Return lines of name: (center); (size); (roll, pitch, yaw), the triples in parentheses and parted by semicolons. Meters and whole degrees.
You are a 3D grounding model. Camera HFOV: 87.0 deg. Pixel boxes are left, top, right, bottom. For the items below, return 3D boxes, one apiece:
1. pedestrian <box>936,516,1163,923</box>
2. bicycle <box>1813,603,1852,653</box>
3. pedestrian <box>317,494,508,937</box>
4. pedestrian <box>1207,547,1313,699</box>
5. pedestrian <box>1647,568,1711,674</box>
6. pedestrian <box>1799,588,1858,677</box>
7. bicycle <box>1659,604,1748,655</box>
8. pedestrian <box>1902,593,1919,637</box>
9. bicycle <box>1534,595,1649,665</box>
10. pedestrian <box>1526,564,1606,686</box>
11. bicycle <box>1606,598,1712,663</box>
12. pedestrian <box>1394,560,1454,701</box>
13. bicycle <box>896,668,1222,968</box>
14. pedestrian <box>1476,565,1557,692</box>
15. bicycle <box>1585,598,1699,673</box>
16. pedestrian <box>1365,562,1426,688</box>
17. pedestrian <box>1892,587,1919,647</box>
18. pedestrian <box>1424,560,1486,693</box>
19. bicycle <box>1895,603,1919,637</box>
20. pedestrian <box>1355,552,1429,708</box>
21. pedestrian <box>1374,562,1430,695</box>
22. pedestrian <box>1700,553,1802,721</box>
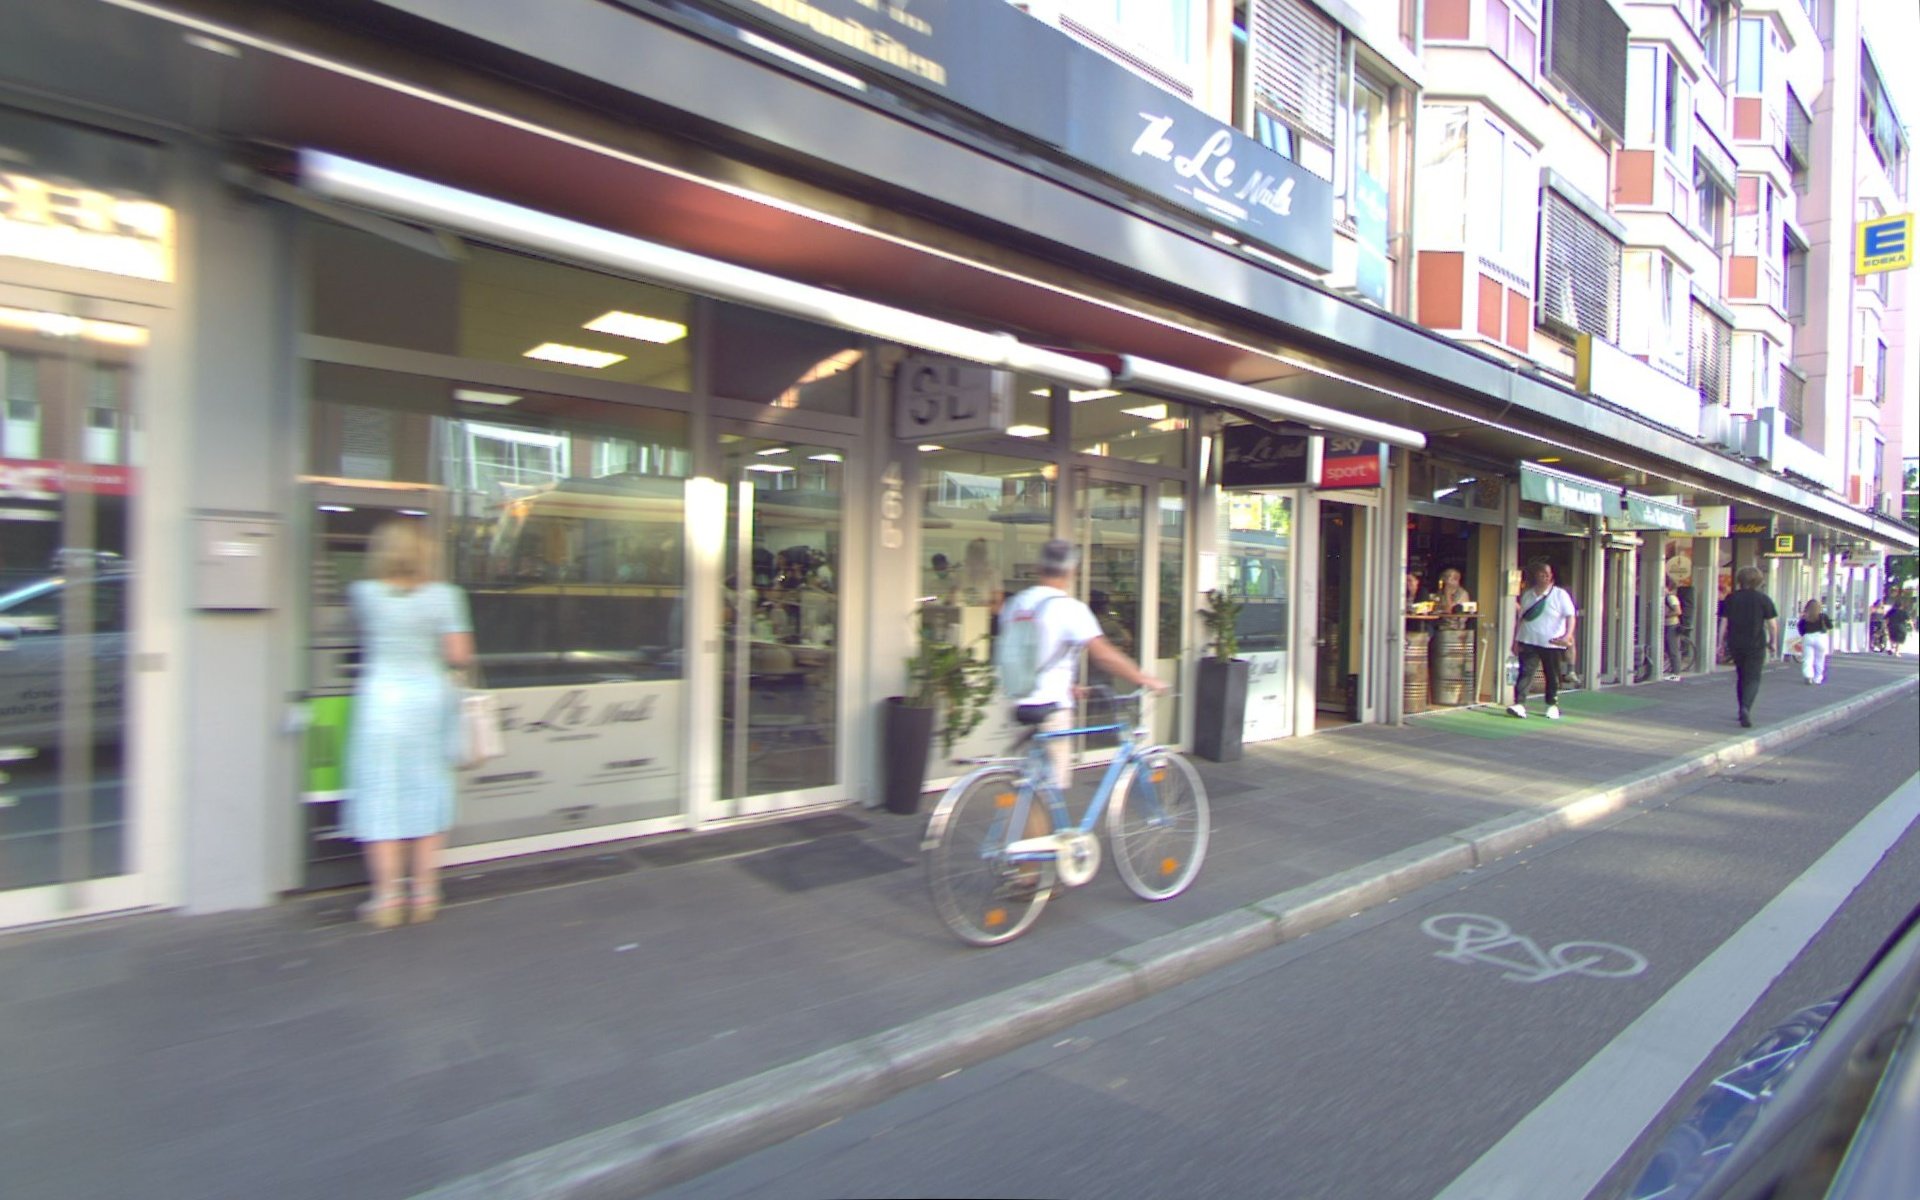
pedestrian: (0.398, 0.468, 4.562); (0.693, 1.650, 0.664); (0, 3, -42)
bicycle: (20.732, 0.640, 24.051); (1.382, 1.142, 0.516); (0, 1, -42)
pedestrian: (-2.212, 0.410, 4.081); (0.544, 1.610, 0.601); (1, 2, -41)
pedestrian: (3.201, 0.228, 10.803); (0.886, 1.538, 0.710); (1, 1, -41)
pedestrian: (12.302, 0.351, 17.340); (0.783, 1.742, 0.585); (3, 1, 32)
pedestrian: (15.710, 0.565, 18.302); (0.776, 1.539, 0.666); (0, 3, -44)
bicycle: (16.177, 0.631, 22.051); (0.427, 1.054, 1.511); (2, -1, -43)
pedestrian: (35.169, 0.552, 37.217); (0.650, 1.627, 0.588); (-1, -1, 36)
bicycle: (11.760, 0.537, 18.848); (2.071, 1.270, 0.578); (0, -1, -17)
pedestrian: (8.631, 0.337, 14.422); (0.627, 1.656, 0.728); (1, 3, -39)
bicycle: (13.858, 0.594, 20.061); (2.040, 1.252, 0.558); (0, 0, -17)
pedestrian: (5.497, 0.344, 11.993); (0.520, 1.624, 0.456); (1, 0, -41)
bicycle: (0.503, 0.848, 4.409); (1.730, 1.002, 0.303); (0, 2, -42)
pedestrian: (7.692, 0.373, 13.991); (0.683, 1.696, 0.774); (0, 0, -40)
bicycle: (11.983, 0.613, 17.775); (2.040, 1.267, 0.472); (0, 0, -17)
pedestrian: (5.757, 0.315, 13.379); (0.531, 1.627, 0.521); (1, 0, -35)
pedestrian: (26.491, 0.472, 28.163); (0.486, 1.633, 0.708); (-1, 2, -41)
pedestrian: (6.331, 0.324, 12.950); (0.512, 1.653, 0.518); (1, 0, -36)
bicycle: (34.743, 0.710, 37.079); (0.427, 1.229, 1.802); (-1, 0, 34)
pedestrian: (4.891, 0.326, 11.458); (0.544, 1.704, 0.579); (1, 0, -42)
pedestrian: (5.546, 0.341, 12.699); (0.456, 1.624, 0.457); (1, 0, -38)
pedestrian: (9.404, 0.410, 12.029); (0.974, 1.884, 0.676); (0, 2, -39)
